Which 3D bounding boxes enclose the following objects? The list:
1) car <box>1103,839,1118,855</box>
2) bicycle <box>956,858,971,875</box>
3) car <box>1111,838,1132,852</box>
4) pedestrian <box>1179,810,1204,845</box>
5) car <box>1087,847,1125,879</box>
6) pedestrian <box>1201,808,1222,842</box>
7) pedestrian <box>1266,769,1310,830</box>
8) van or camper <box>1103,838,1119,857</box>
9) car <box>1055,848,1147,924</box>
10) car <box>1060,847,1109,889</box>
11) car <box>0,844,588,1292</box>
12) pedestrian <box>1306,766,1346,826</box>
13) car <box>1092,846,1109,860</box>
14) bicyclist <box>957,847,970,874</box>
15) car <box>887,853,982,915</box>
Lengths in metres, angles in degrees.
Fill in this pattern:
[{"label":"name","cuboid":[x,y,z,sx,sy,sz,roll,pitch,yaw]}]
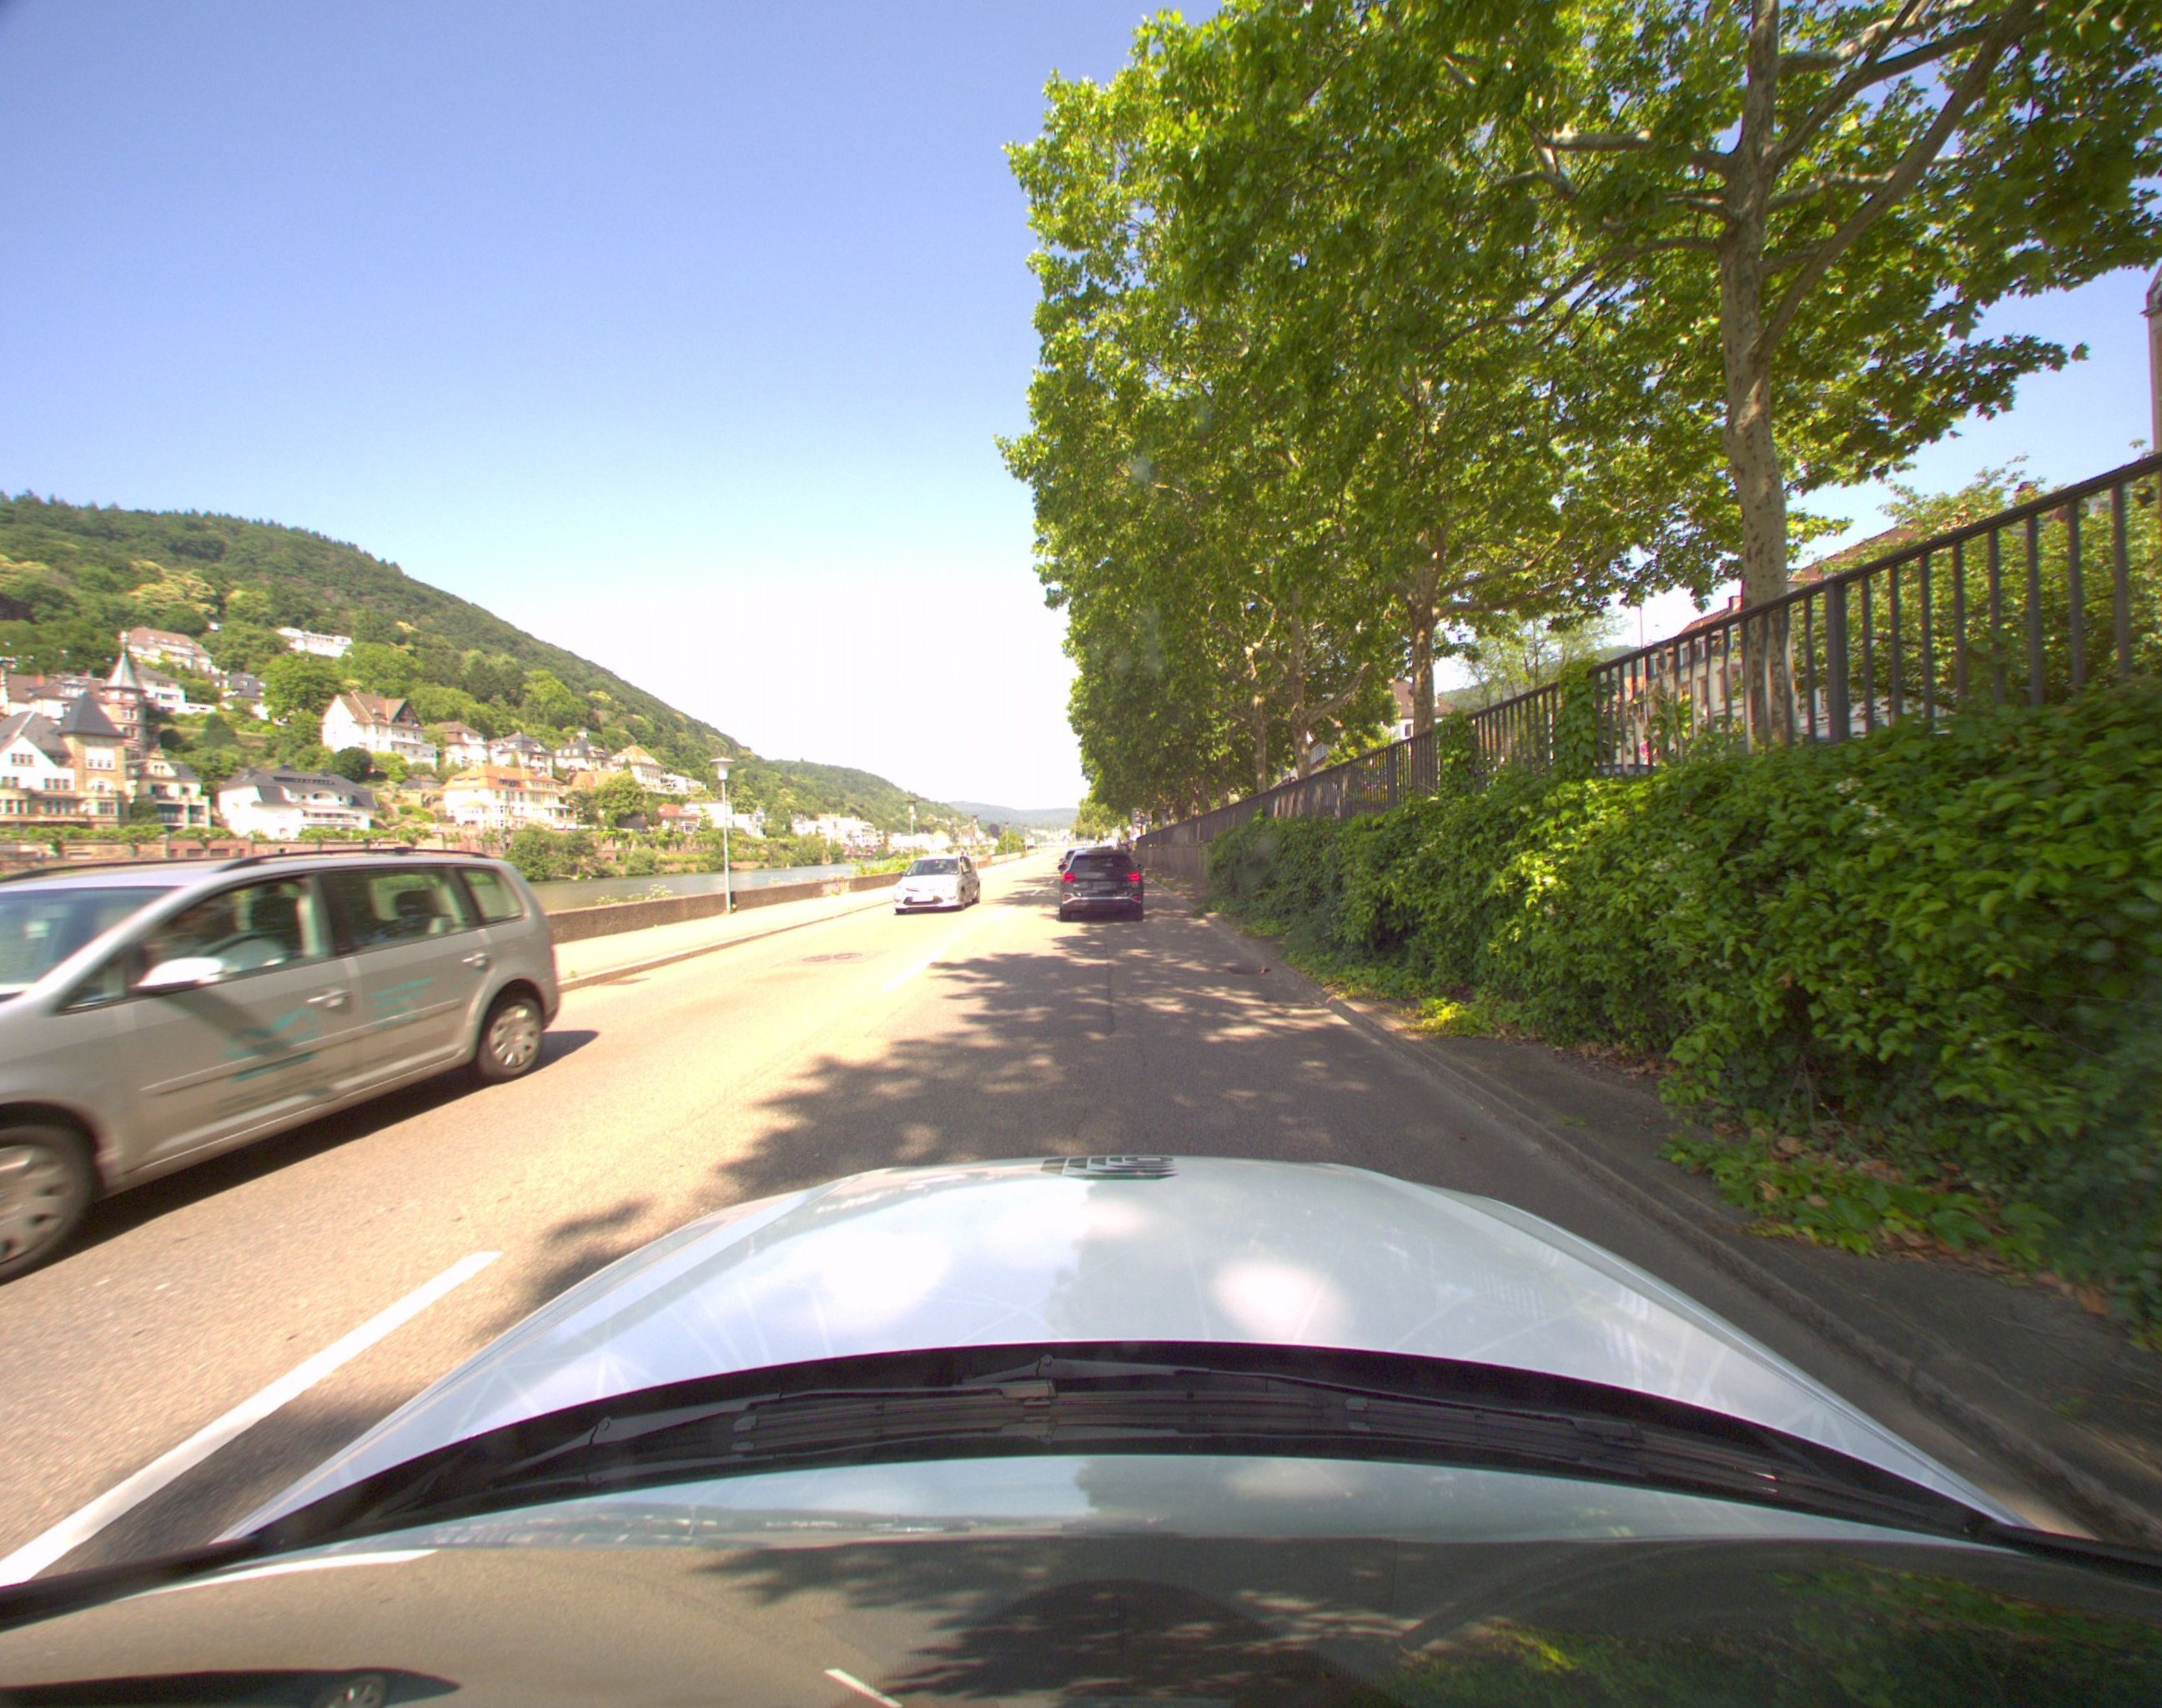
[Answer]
[{"label":"car","cuboid":[4.237,-0.985,115.844,1.987,2.169,4.000,-2,1,0]},{"label":"bicycle","cuboid":[-7.500,0.810,52.049,0.630,1.012,1.986,-2,0,1]},{"label":"car","cuboid":[6.773,-1.560,136.075,3.088,2.013,5.825,-4,1,0]},{"label":"pedestrian","cuboid":[5.205,-1.228,38.501,0.934,1.579,1.027,-4,0,-1]},{"label":"car","cuboid":[1.249,0.423,41.454,1.822,1.486,4.000,-1,1,0]},{"label":"pedestrian","cuboid":[5.554,-1.241,34.694,0.678,1.365,0.989,-4,0,0]},{"label":"pedestrian","cuboid":[5.003,-1.303,19.730,0.751,1.365,0.814,-4,0,-1]},{"label":"van or camper","cuboid":[4.568,-1.020,124.655,2.301,2.847,4.249,-2,0,3]},{"label":"car","cuboid":[0.424,0.620,18.363,1.822,1.486,4.000,-1,1,0]},{"label":"car","cuboid":[0.151,0.507,32.252,1.822,1.511,4.000,-1,1,0]},{"label":"car","cuboid":[-4.857,0.824,4.379,1.726,1.650,4.177,-3,0,1]},{"label":"pedestrian","cuboid":[5.954,-1.395,19.841,0.642,1.365,0.794,-4,0,-1]},{"label":"car","cuboid":[2.066,-0.085,87.945,1.822,1.444,4.000,-1,1,0]},{"label":"bicyclist","cuboid":[-7.536,0.420,52.165,0.635,1.673,0.871,-2,0,0]},{"label":"car","cuboid":[-3.882,0.743,22.259,1.726,1.441,4.046,-3,0,1]}]
